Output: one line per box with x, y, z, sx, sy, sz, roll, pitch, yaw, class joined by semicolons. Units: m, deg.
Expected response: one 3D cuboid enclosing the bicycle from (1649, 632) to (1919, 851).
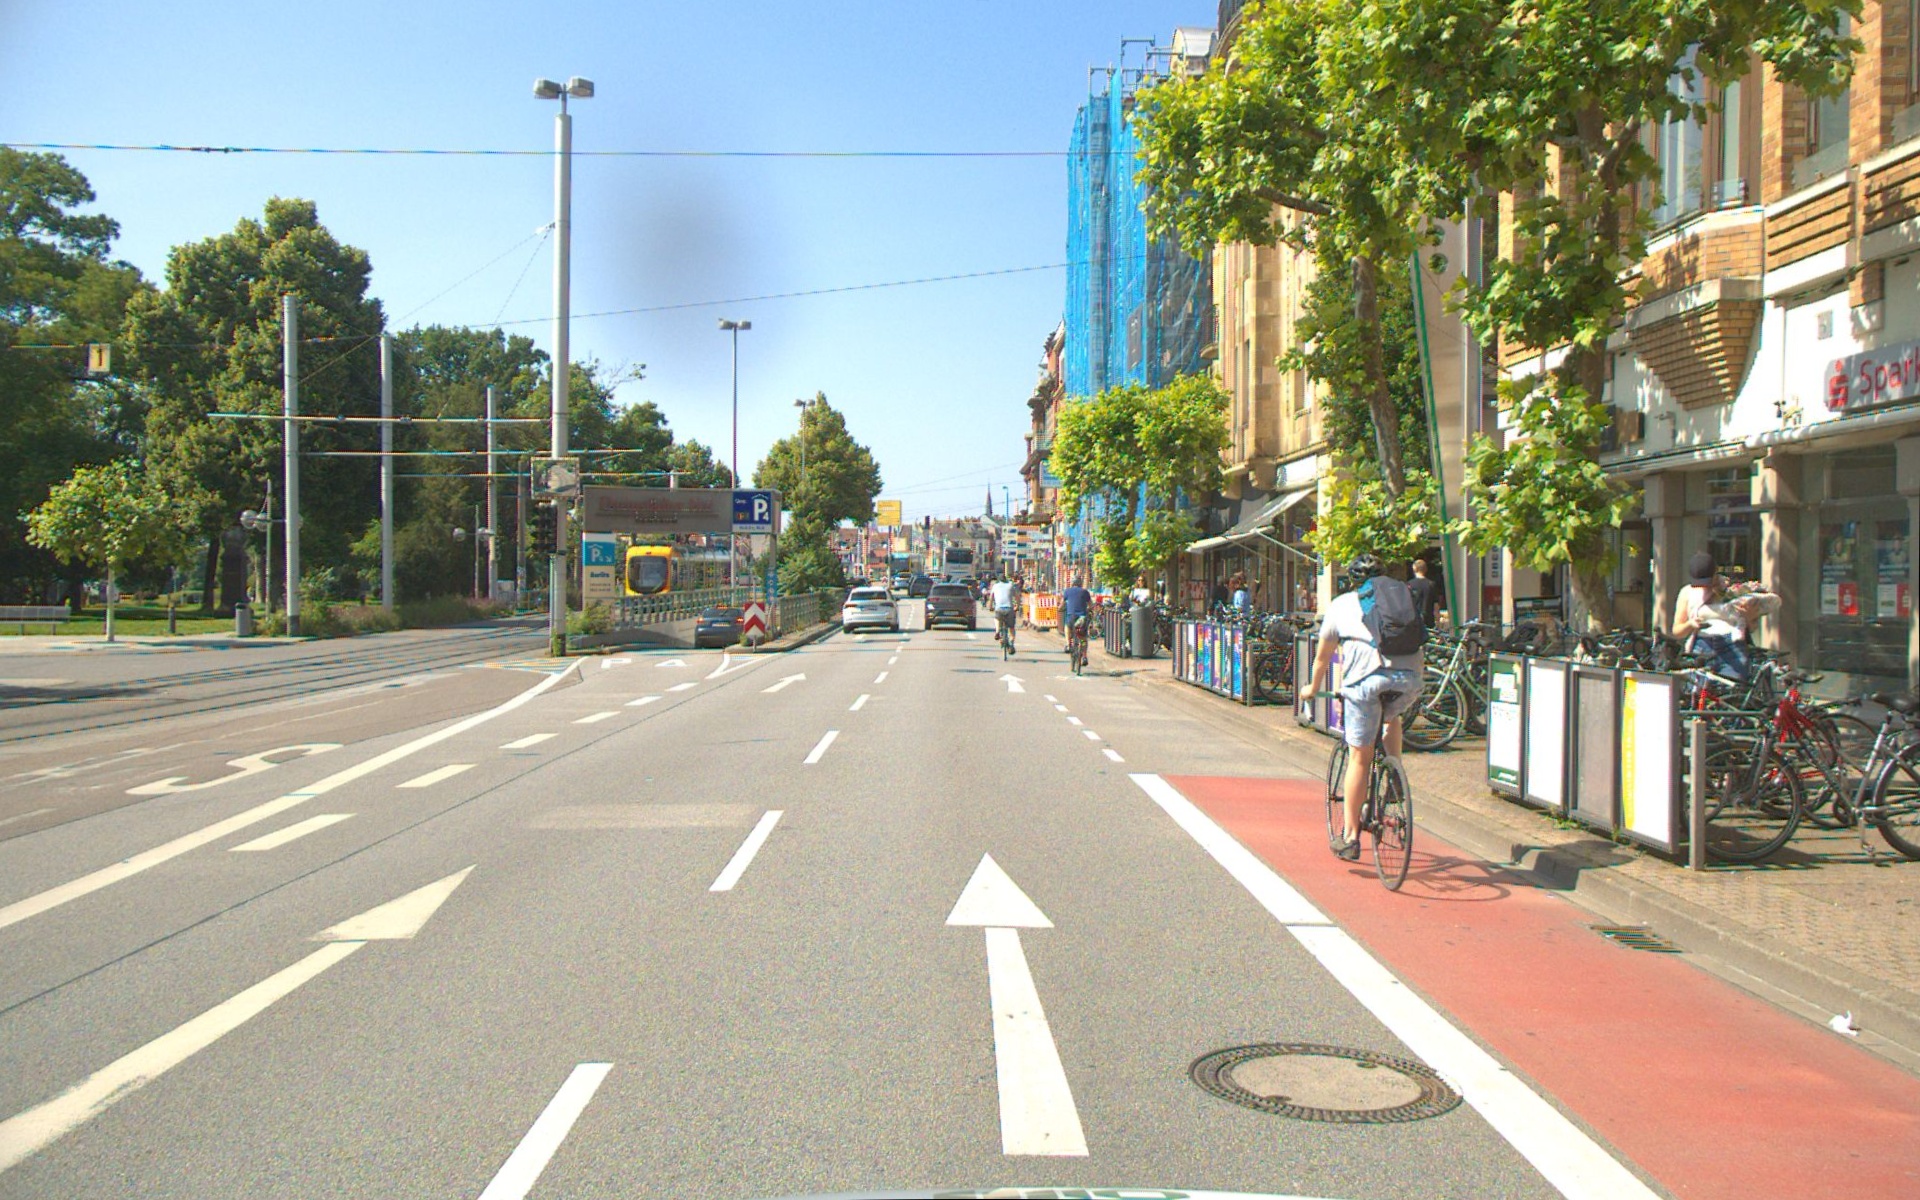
4.799;0.776;9.232;1.718;1.167;0.482;0;0;-3;bicycle

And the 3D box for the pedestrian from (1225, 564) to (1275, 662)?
5.059;0.225;28.854;0.589;1.654;0.642;-3;1;-13;pedestrian

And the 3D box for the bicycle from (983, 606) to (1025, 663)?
0.919;0.713;34.825;0.719;1.112;1.897;2;0;-2;bicycle

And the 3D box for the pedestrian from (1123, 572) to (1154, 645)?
4.200;0.204;38.961;0.643;1.712;0.653;0;-1;-1;pedestrian

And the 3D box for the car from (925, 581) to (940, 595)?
-2.719;-1.201;163.520;1.422;1.323;3.340;2;0;-3;car

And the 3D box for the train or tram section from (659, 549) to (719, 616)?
-15.499;-1.003;94.776;2.560;3.643;5.356;2;0;-1;train or tram section

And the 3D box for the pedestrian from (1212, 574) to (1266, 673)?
4.773;0.395;28.319;0.683;1.654;0.700;-1;0;-14;pedestrian

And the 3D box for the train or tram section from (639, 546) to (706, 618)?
-15.412;-0.959;89.055;2.560;3.643;6.102;2;0;-1;train or tram section

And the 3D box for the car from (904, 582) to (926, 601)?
-3.394;-0.654;124.957;1.423;1.323;3.338;2;0;-5;car

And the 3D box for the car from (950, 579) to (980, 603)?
0.341;-0.641;111.307;1.953;1.518;4.000;2;0;0;car

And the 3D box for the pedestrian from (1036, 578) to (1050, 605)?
5.340;-0.523;106.367;0.740;1.684;0.837;-3;0;-2;pedestrian

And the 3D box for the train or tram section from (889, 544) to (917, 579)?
-6.347;-4.262;186.504;2.765;3.643;10.031;2;0;0;train or tram section

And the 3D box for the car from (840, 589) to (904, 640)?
-2.838;0.443;54.068;1.821;1.533;4.000;2;0;0;car

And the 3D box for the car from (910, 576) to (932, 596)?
-2.734;-0.985;114.459;1.422;1.323;3.340;2;0;-2;car

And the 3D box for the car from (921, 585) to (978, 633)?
-0.340;0.292;56.553;1.835;1.518;4.000;2;0;0;car

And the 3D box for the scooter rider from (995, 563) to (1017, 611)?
1.694;-0.478;60.969;0.674;1.759;0.778;2;0;-2;scooter rider

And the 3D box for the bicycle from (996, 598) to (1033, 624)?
2.581;0.533;78.451;1.735;1.199;0.608;1;0;-1;bicycle

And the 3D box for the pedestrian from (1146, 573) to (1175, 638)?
5.857;0.154;48.418;0.797;1.881;0.892;-1;0;6;pedestrian

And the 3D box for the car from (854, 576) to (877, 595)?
-7.117;-1.078;124.981;1.422;1.323;4.000;2;0;0;car

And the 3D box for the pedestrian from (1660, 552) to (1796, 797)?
5.443;0.512;11.764;0.638;1.662;0.731;2;0;7;pedestrian

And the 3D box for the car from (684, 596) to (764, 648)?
-7.496;0.669;52.893;1.953;1.534;4.000;2;0;0;car

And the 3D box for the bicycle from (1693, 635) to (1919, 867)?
4.822;0.780;8.706;1.718;1.167;0.499;0;0;-3;bicycle

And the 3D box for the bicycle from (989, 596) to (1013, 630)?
1.413;0.442;57.145;0.719;1.112;1.897;2;0;-2;bicycle

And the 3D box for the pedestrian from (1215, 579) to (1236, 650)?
6.388;0.347;39.761;0.373;1.712;0.477;-1;0;22;pedestrian

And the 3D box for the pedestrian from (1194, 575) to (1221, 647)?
5.949;0.270;39.690;0.488;1.712;0.537;-2;0;21;pedestrian

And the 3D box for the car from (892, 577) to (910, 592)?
-5.159;-1.366;145.826;1.422;1.323;4.000;2;0;0;car

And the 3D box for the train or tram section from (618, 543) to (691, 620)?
-15.250;-0.911;82.977;2.561;3.643;6.102;2;0;-1;train or tram section

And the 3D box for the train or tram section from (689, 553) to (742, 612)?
-15.796;-1.102;107.350;2.560;3.643;6.016;2;0;-1;train or tram section

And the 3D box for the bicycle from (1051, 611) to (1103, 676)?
2.139;0.785;30.434;0.719;1.112;1.910;2;0;-2;bicycle

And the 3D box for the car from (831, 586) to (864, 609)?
-7.090;-0.148;104.561;1.778;1.355;4.000;2;0;0;car

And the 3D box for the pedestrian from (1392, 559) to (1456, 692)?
6.445;0.342;23.004;0.654;1.812;0.985;0;0;3;pedestrian

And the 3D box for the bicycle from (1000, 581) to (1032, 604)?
2.968;-0.417;88.243;1.659;1.199;0.608;-1;1;-1;bicycle
